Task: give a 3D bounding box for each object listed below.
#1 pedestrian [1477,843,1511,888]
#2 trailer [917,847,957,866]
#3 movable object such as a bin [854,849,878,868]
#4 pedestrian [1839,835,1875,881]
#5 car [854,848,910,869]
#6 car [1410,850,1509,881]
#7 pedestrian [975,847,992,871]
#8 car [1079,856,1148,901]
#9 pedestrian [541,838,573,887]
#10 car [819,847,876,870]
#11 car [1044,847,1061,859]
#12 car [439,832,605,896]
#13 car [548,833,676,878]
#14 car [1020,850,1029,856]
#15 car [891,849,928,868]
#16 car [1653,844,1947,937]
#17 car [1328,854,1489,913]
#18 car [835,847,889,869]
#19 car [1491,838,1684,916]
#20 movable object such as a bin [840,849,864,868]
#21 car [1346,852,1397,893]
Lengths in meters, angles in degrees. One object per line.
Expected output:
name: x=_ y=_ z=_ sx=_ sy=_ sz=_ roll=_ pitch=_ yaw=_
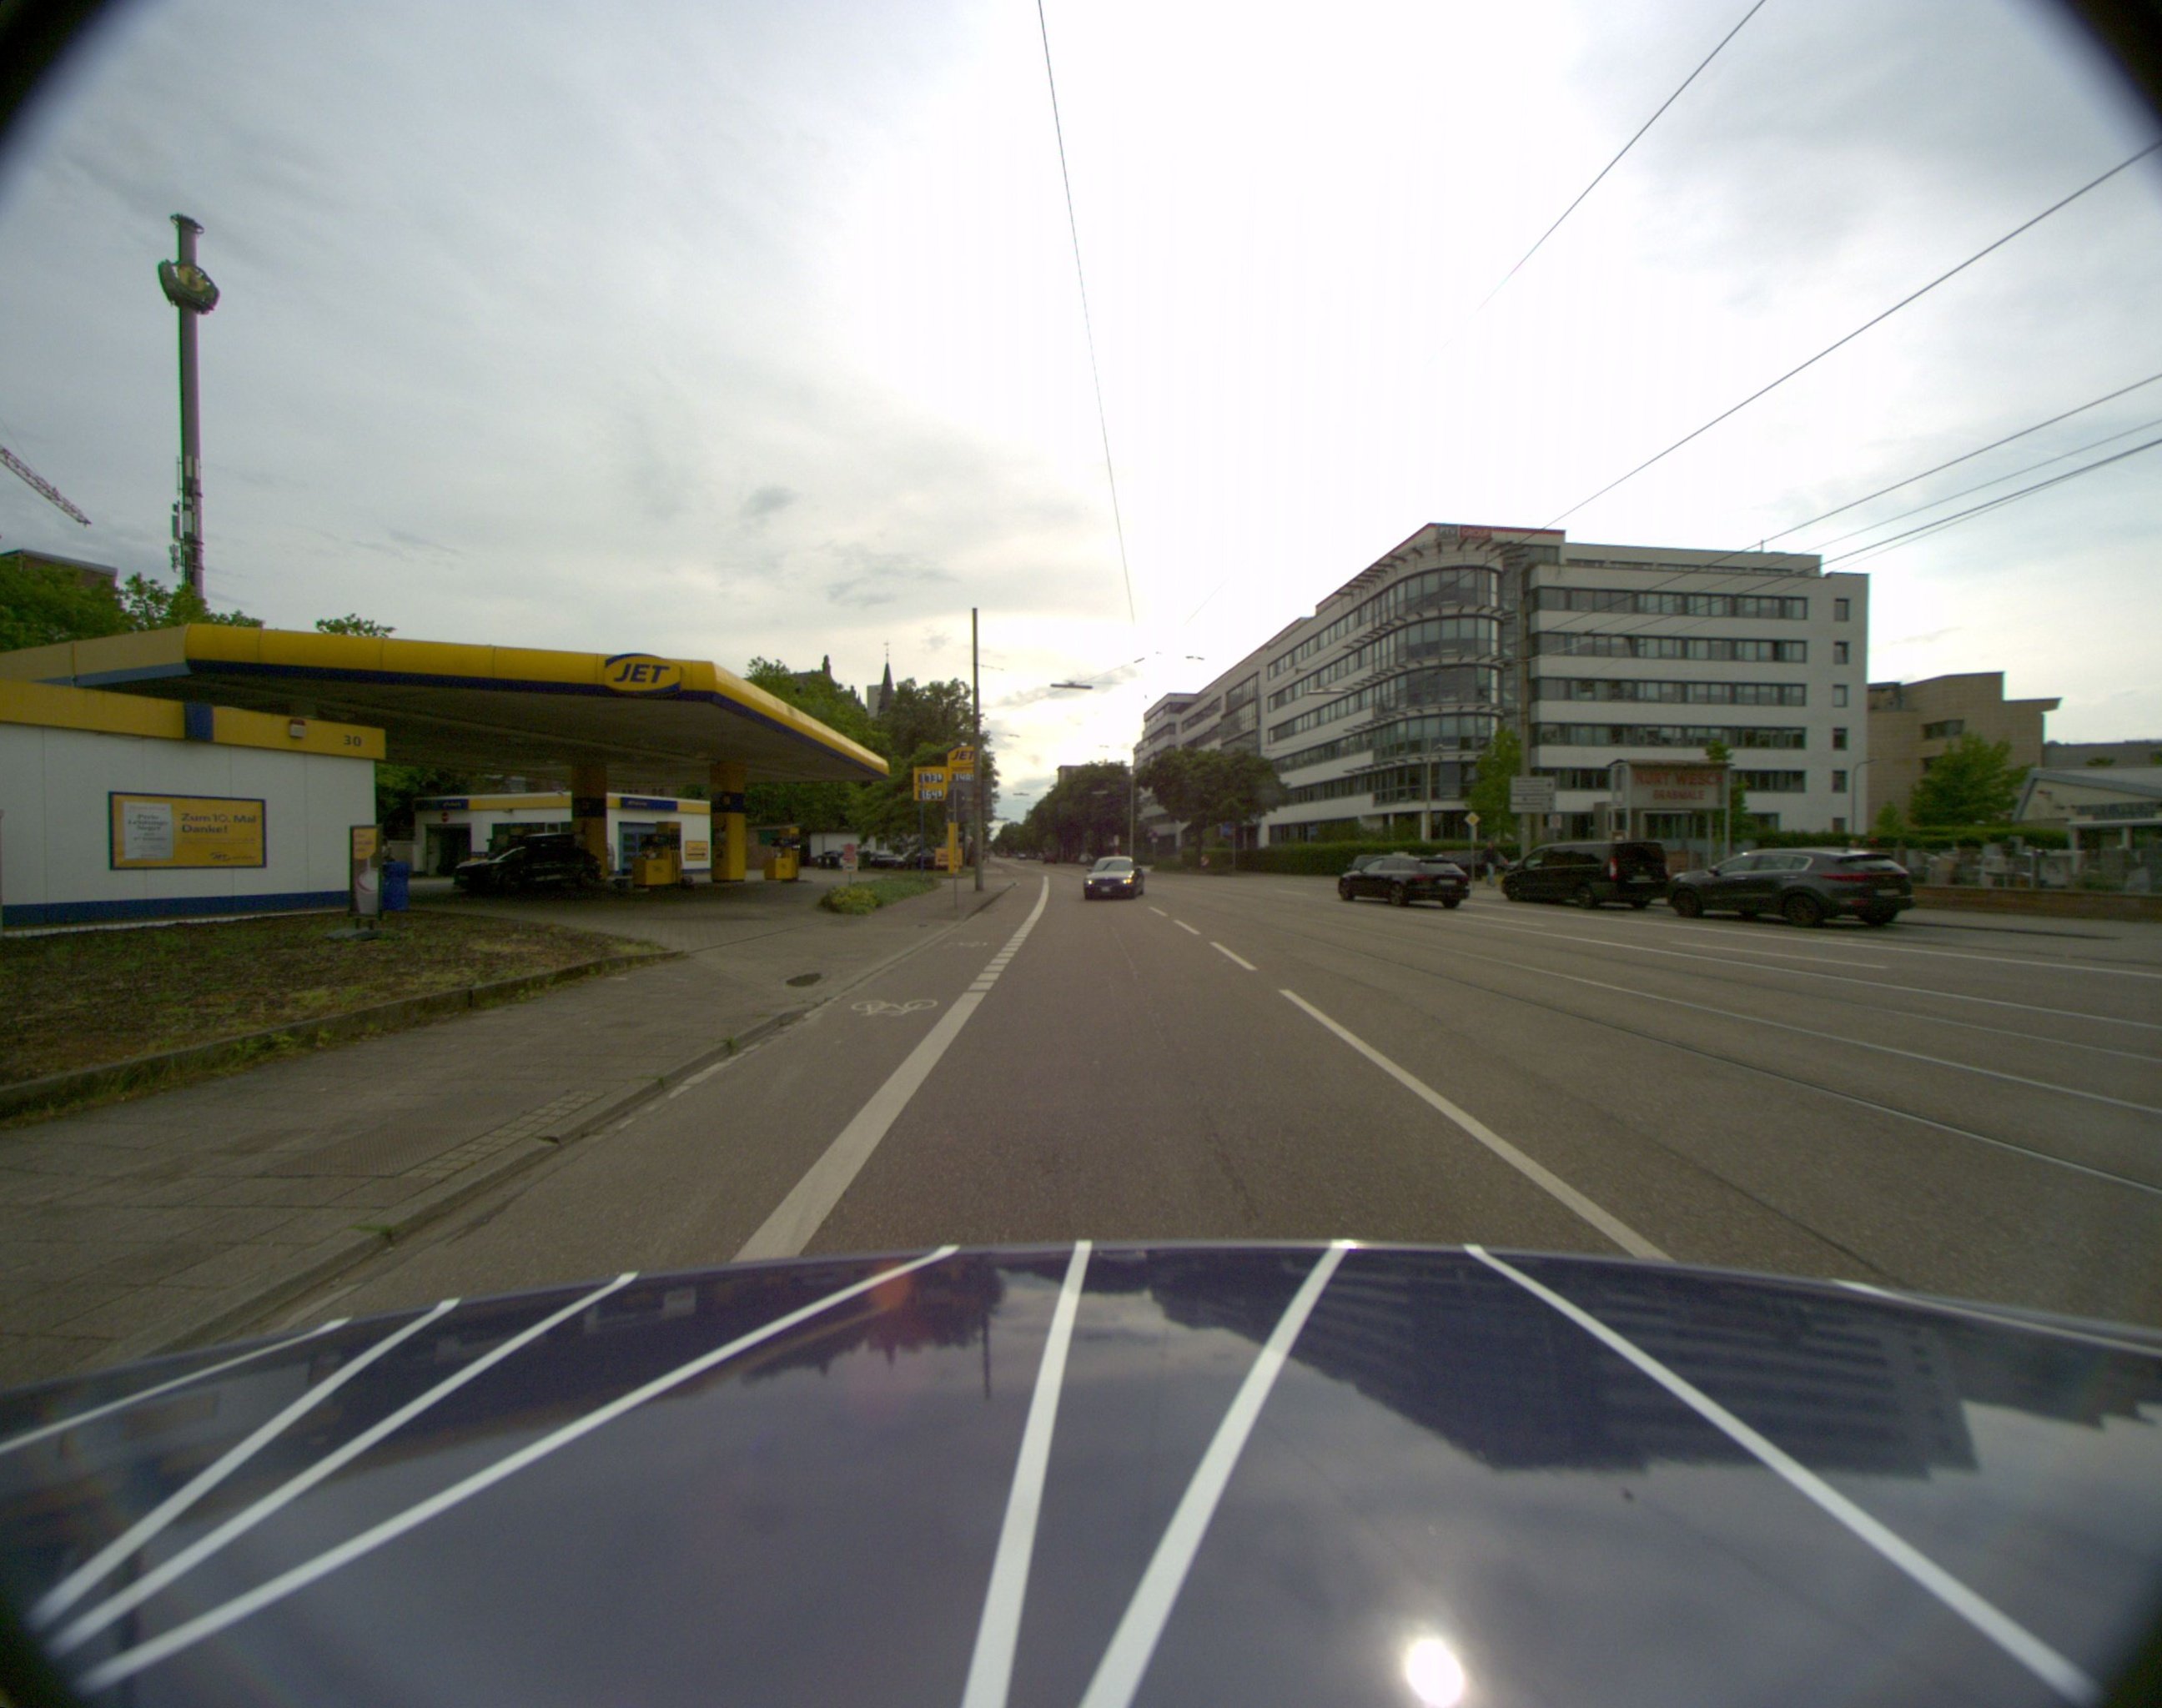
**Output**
pedestrian: x=17.153 y=0.473 z=31.582 sx=0.806 sy=1.815 sz=1.059 roll=-1 pitch=1 yaw=-3
trailer: x=-12.534 y=0.192 z=66.160 sx=3.292 sy=1.523 sz=1.772 roll=1 pitch=3 yaw=-7
movable object such as a bin: x=-15.663 y=0.319 z=55.304 sx=1.118 sy=1.312 sz=1.162 roll=-1 pitch=1 yaw=28
pedestrian: x=30.924 y=0.155 z=30.280 sx=0.636 sy=1.764 sz=0.761 roll=-1 pitch=1 yaw=-1
car: x=-15.419 y=0.352 z=59.113 sx=1.822 sy=1.509 sz=4.007 roll=-1 pitch=1 yaw=34
car: x=18.631 y=0.556 z=37.500 sx=3.983 sy=1.443 sz=1.816 roll=0 pitch=1 yaw=3
pedestrian: x=-7.180 y=0.388 z=55.971 sx=0.871 sy=1.738 sz=0.848 roll=2 pitch=1 yaw=-32
car: x=1.216 y=0.799 z=26.521 sx=1.785 sy=1.361 sz=4.116 roll=-1 pitch=1 yaw=11
pedestrian: x=-19.414 y=0.305 z=28.137 sx=0.706 sy=1.777 sz=0.628 roll=-1 pitch=1 yaw=21
car: x=-18.166 y=0.301 z=59.320 sx=1.807 sy=1.686 sz=4.033 roll=-1 pitch=1 yaw=30
car: x=-4.365 y=-0.200 z=115.810 sx=1.848 sy=1.714 sz=4.403 roll=0 pitch=1 yaw=-10
car: x=-18.874 y=0.263 z=25.900 sx=1.820 sy=1.977 sz=4.259 roll=1 pitch=1 yaw=19
car: x=-20.978 y=0.072 z=34.221 sx=1.982 sy=1.832 sz=4.536 roll=2 pitch=0 yaw=23
car: x=-13.982 y=-0.297 z=187.294 sx=1.802 sy=1.537 sz=4.476 roll=-1 pitch=1 yaw=-10
car: x=-12.933 y=0.306 z=57.549 sx=1.999 sy=1.281 sz=3.998 roll=-1 pitch=1 yaw=-3
car: x=15.819 y=0.725 z=17.147 sx=2.043 sy=1.739 sz=4.532 roll=-2 pitch=0 yaw=-7
car: x=9.245 y=0.766 z=21.988 sx=1.911 sy=1.464 sz=4.815 roll=1 pitch=0 yaw=-10
car: x=-18.246 y=0.303 z=63.410 sx=3.999 sy=1.657 sz=1.998 roll=-1 pitch=1 yaw=-6
car: x=14.919 y=0.572 z=22.864 sx=1.992 sy=2.002 sz=5.181 roll=-2 pitch=1 yaw=-5
movable object such as a bin: x=-16.802 y=0.309 z=55.720 sx=1.118 sy=1.351 sz=1.162 roll=-1 pitch=1 yaw=28
car: x=11.882 y=0.708 z=31.140 sx=1.791 sy=1.521 sz=4.147 roll=2 pitch=1 yaw=20
